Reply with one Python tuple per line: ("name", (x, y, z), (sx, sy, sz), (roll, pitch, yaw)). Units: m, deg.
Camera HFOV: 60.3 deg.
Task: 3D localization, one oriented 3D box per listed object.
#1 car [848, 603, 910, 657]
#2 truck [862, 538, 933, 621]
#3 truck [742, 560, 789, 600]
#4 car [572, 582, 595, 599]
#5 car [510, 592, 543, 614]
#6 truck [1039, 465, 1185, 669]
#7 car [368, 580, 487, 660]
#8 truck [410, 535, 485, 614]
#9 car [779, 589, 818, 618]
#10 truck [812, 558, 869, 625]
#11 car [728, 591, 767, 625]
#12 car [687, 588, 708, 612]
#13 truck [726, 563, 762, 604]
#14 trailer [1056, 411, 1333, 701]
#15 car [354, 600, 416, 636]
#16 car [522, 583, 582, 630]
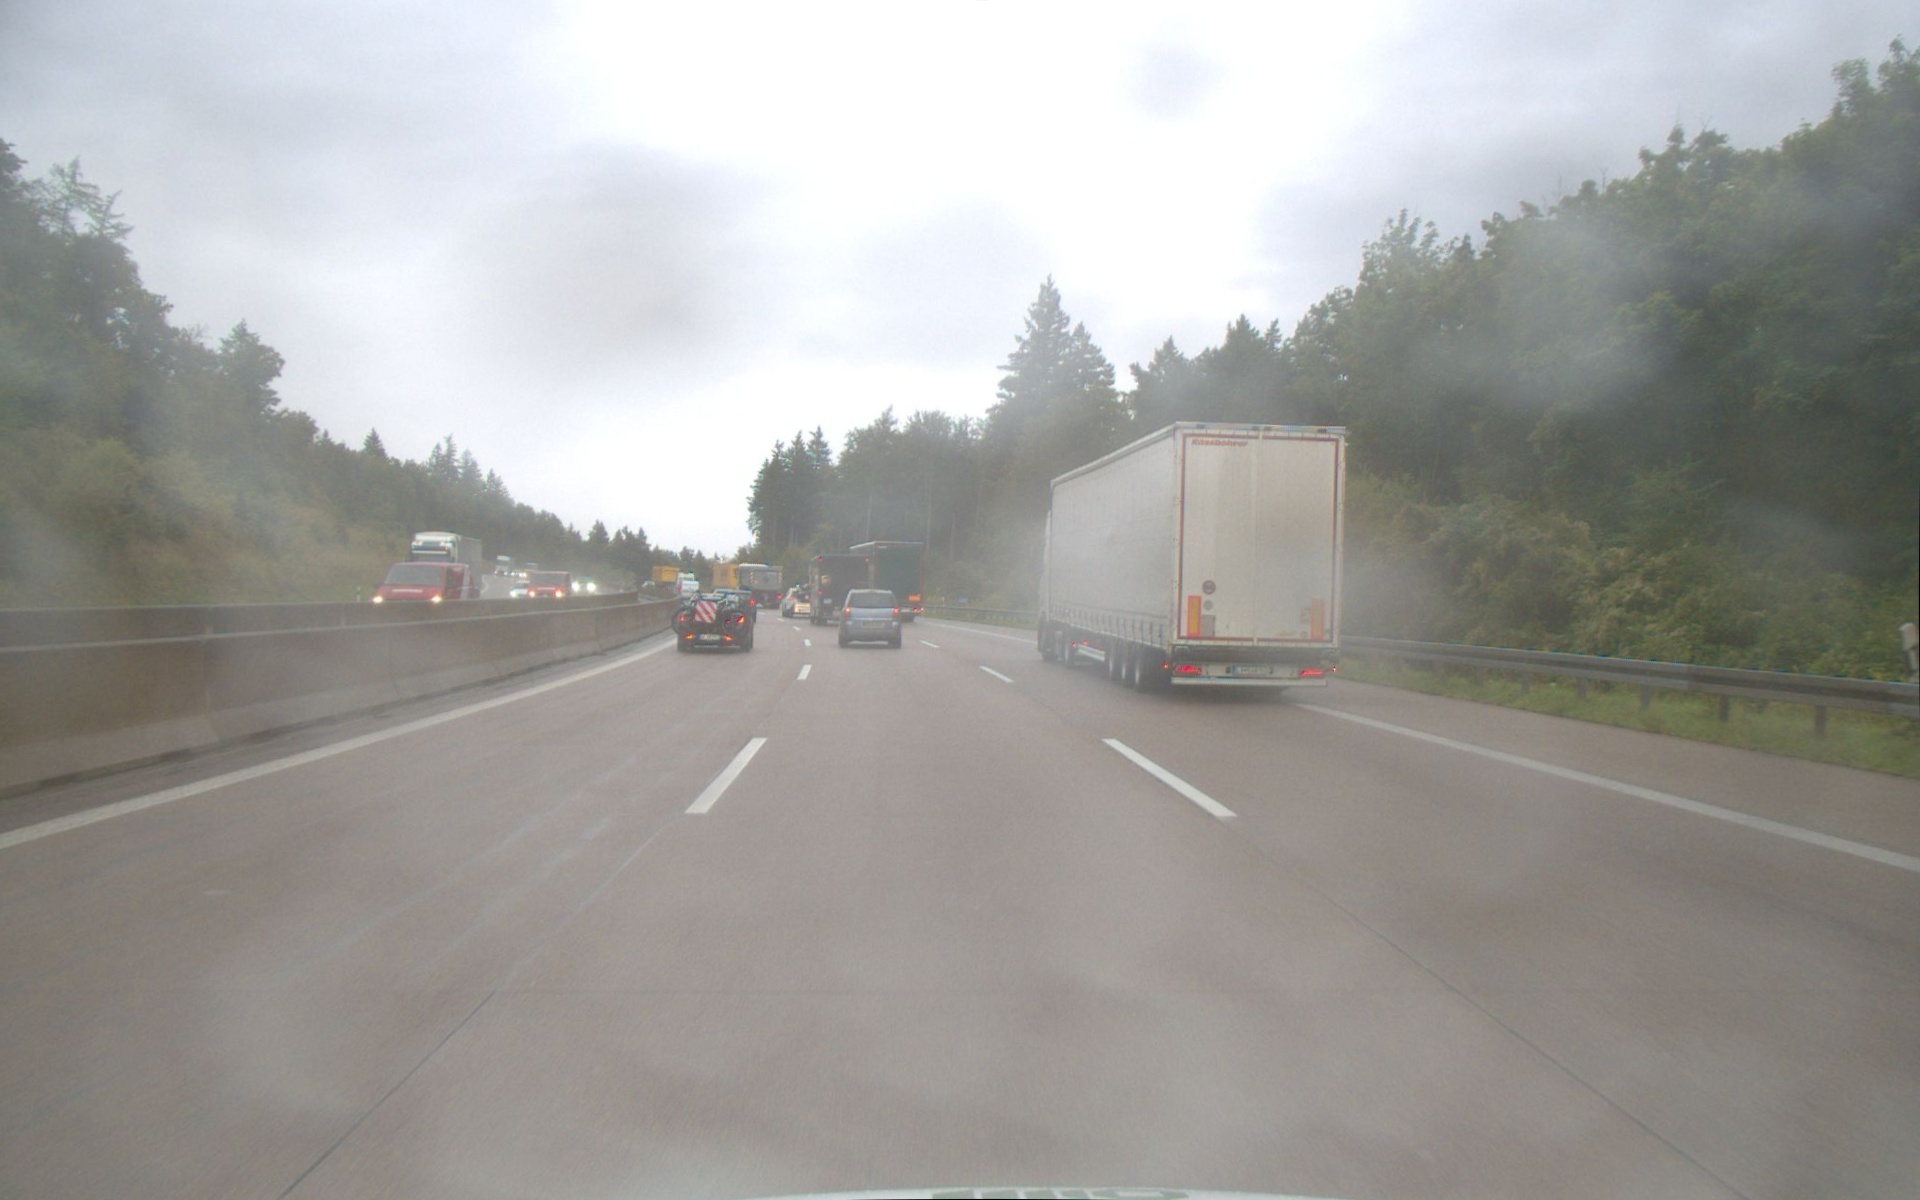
("car", (-2.261, 0.823, 47.114), (1.522, 1.375, 3.684), (2, 0, 0))
("truck", (-3.496, -1.086, 89.396), (3.303, 4.204, 10.426), (0, 0, -5))
("truck", (-14.852, -1.526, 125.917), (3.027, 2.956, 7.883), (0, 1, -10))
("car", (-31.959, -0.836, 140.418), (1.591, 1.417, 3.993), (0, 0, -8))
("car", (-27.892, 0.188, 106.435), (1.591, 1.417, 3.993), (0, 0, -8))
("truck", (3.211, -0.679, 36.103), (2.372, 4.139, 4.974), (0, 0, -4))
("car", (-14.884, 0.529, 46.504), (1.954, 2.119, 5.327), (0, 0, -4))
("truck", (-29.373, -1.415, 95.114), (2.693, 4.359, 8.302), (0, 0, -7))
("car", (-8.784, 0.169, 90.096), (1.844, 1.498, 3.998), (2, 0, -3))
("truck", (-5.553, -0.439, 75.870), (2.226, 2.937, 7.892), (0, 1, -7))
("car", (-9.950, 0.353, 77.592), (1.651, 1.488, 3.679), (2, 0, -5))
("car", (-22.970, 0.031, 144.802), (1.692, 2.049, 3.651), (0, -1, -7))
("truck", (-23.480, -1.754, 179.549), (3.671, 4.284, 6.802), (0, -1, -9))
("trailer", (3.712, -0.652, 29.678), (2.372, 4.139, 12.043), (0, 0, -4))
("car", (-23.893, 0.737, 68.864), (1.591, 1.417, 3.994), (0, 0, -7))
("car", (-19.125, 0.276, 77.716), (1.955, 2.119, 5.326), (0, 0, -5))
